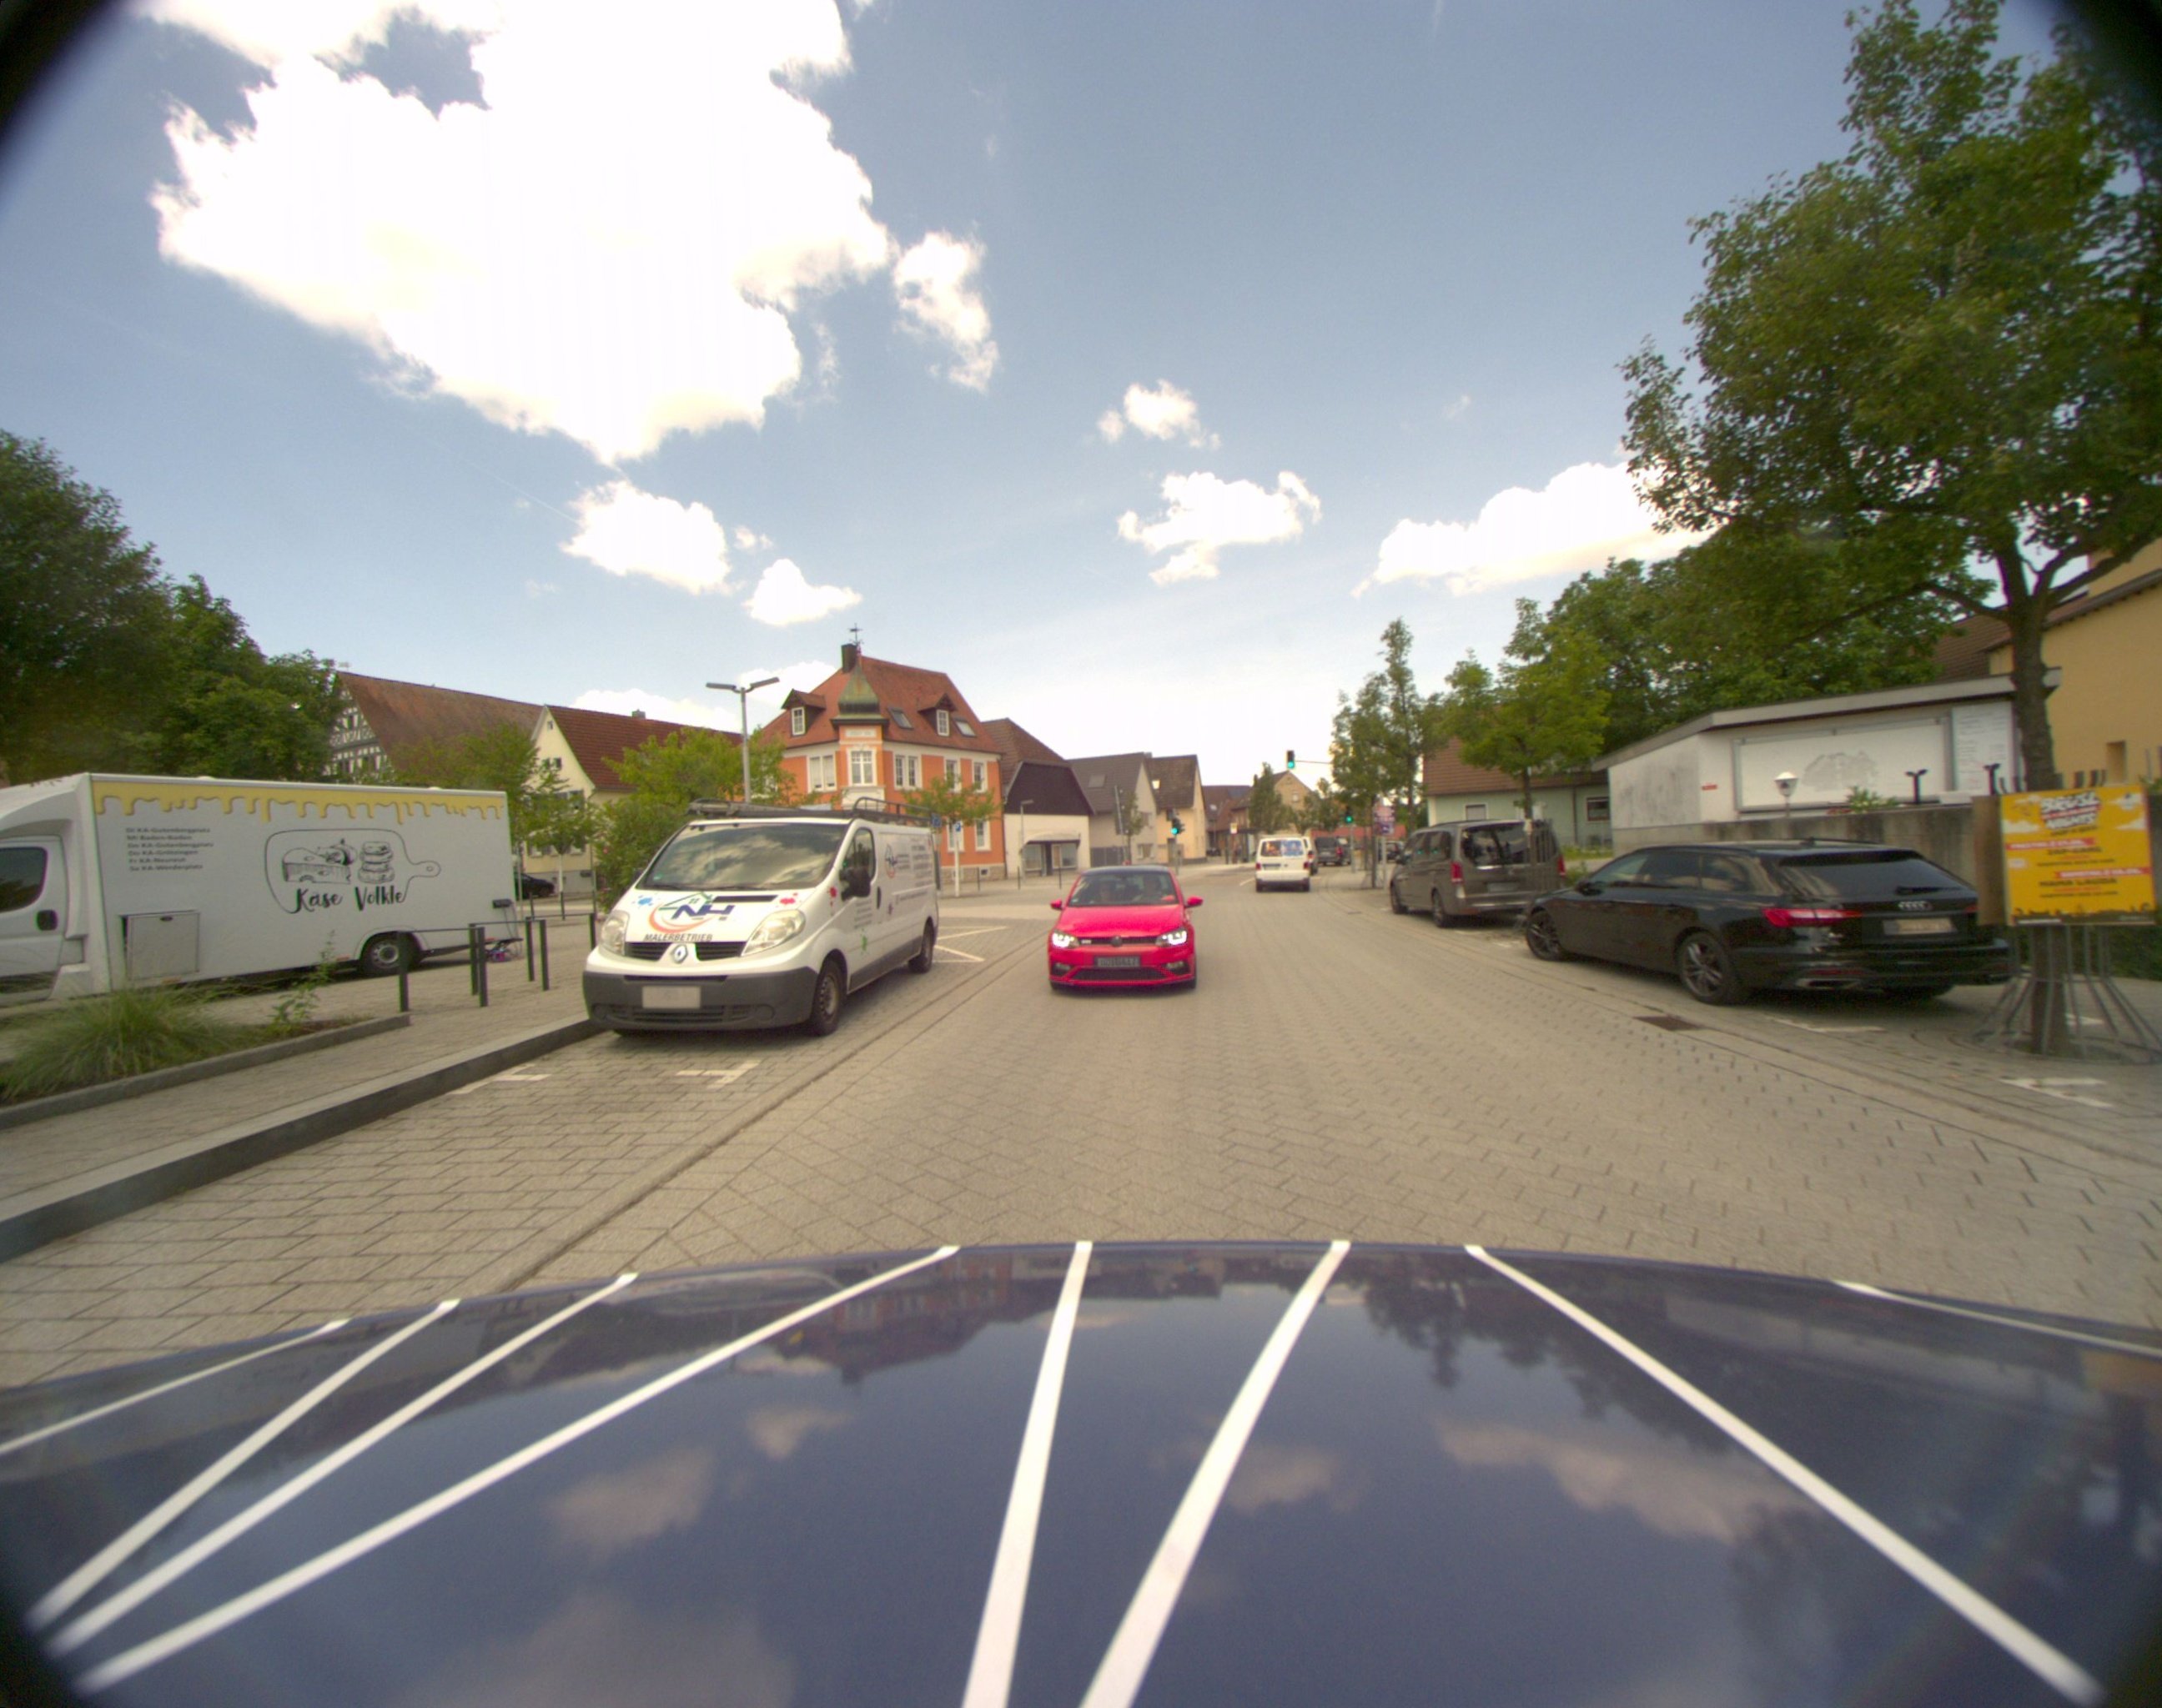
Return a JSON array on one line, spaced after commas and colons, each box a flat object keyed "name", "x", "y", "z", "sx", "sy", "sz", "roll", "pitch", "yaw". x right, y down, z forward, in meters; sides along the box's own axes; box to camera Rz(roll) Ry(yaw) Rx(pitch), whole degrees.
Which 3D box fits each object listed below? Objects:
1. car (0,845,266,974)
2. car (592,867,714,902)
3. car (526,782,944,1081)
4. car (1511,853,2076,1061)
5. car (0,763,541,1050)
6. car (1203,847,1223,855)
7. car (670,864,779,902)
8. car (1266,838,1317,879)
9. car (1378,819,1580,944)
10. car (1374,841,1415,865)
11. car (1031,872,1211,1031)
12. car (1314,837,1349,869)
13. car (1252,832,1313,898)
[{"name": "car", "x": -22.402, "y": 1.182, "z": 15.902, "sx": 6.977, "sy": 2.463, "sz": 2.646, "roll": -3, "pitch": 1, "yaw": -42}, {"name": "car", "x": -21.525, "y": 1.502, "z": 38.499, "sx": 1.995, "sy": 1.433, "sz": 5.133, "roll": -3, "pitch": 0, "yaw": 23}, {"name": "car", "x": -2.987, "y": 0.555, "z": 8.087, "sx": 1.947, "sy": 2.165, "sz": 5.101, "roll": -1, "pitch": 0, "yaw": 2}, {"name": "car", "x": 6.358, "y": 0.755, "z": 7.714, "sx": 1.819, "sy": 1.415, "sz": 4.539, "roll": -3, "pitch": 0, "yaw": 7}, {"name": "car", "x": -11.794, "y": 0.555, "z": 10.047, "sx": 2.756, "sy": 2.946, "sz": 7.122, "roll": -3, "pitch": 1, "yaw": 19}, {"name": "car", "x": 21.014, "y": -0.461, "z": 120.913, "sx": 1.804, "sy": 1.053, "sz": 3.996, "roll": -2, "pitch": 0, "yaw": -11}, {"name": "car", "x": -16.711, "y": 1.326, "z": 35.920, "sx": 1.621, "sy": 1.475, "sz": 4.729, "roll": -3, "pitch": 0, "yaw": 23}, {"name": "car", "x": 10.767, "y": 0.192, "z": 39.173, "sx": 1.997, "sy": 1.869, "sz": 4.869, "roll": -3, "pitch": 0, "yaw": 10}, {"name": "car", "x": 7.467, "y": 0.443, "z": 14.933, "sx": 1.990, "sy": 1.979, "sz": 5.047, "roll": -3, "pitch": 0, "yaw": 10}, {"name": "car", "x": 21.534, "y": -0.099, "z": 52.113, "sx": 1.734, "sy": 1.482, "sz": 4.508, "roll": -2, "pitch": 1, "yaw": 33}, {"name": "car", "x": 0.388, "y": 1.039, "z": 9.700, "sx": 1.782, "sy": 1.403, "sz": 3.887, "roll": -3, "pitch": 1, "yaw": -1}, {"name": "car", "x": 16.566, "y": -0.110, "z": 50.084, "sx": 1.660, "sy": 2.002, "sz": 4.006, "roll": -2, "pitch": 1, "yaw": 25}, {"name": "car", "x": 7.533, "y": 0.339, "z": 28.060, "sx": 1.890, "sy": 2.173, "sz": 5.036, "roll": -2, "pitch": 0, "yaw": 17}]
